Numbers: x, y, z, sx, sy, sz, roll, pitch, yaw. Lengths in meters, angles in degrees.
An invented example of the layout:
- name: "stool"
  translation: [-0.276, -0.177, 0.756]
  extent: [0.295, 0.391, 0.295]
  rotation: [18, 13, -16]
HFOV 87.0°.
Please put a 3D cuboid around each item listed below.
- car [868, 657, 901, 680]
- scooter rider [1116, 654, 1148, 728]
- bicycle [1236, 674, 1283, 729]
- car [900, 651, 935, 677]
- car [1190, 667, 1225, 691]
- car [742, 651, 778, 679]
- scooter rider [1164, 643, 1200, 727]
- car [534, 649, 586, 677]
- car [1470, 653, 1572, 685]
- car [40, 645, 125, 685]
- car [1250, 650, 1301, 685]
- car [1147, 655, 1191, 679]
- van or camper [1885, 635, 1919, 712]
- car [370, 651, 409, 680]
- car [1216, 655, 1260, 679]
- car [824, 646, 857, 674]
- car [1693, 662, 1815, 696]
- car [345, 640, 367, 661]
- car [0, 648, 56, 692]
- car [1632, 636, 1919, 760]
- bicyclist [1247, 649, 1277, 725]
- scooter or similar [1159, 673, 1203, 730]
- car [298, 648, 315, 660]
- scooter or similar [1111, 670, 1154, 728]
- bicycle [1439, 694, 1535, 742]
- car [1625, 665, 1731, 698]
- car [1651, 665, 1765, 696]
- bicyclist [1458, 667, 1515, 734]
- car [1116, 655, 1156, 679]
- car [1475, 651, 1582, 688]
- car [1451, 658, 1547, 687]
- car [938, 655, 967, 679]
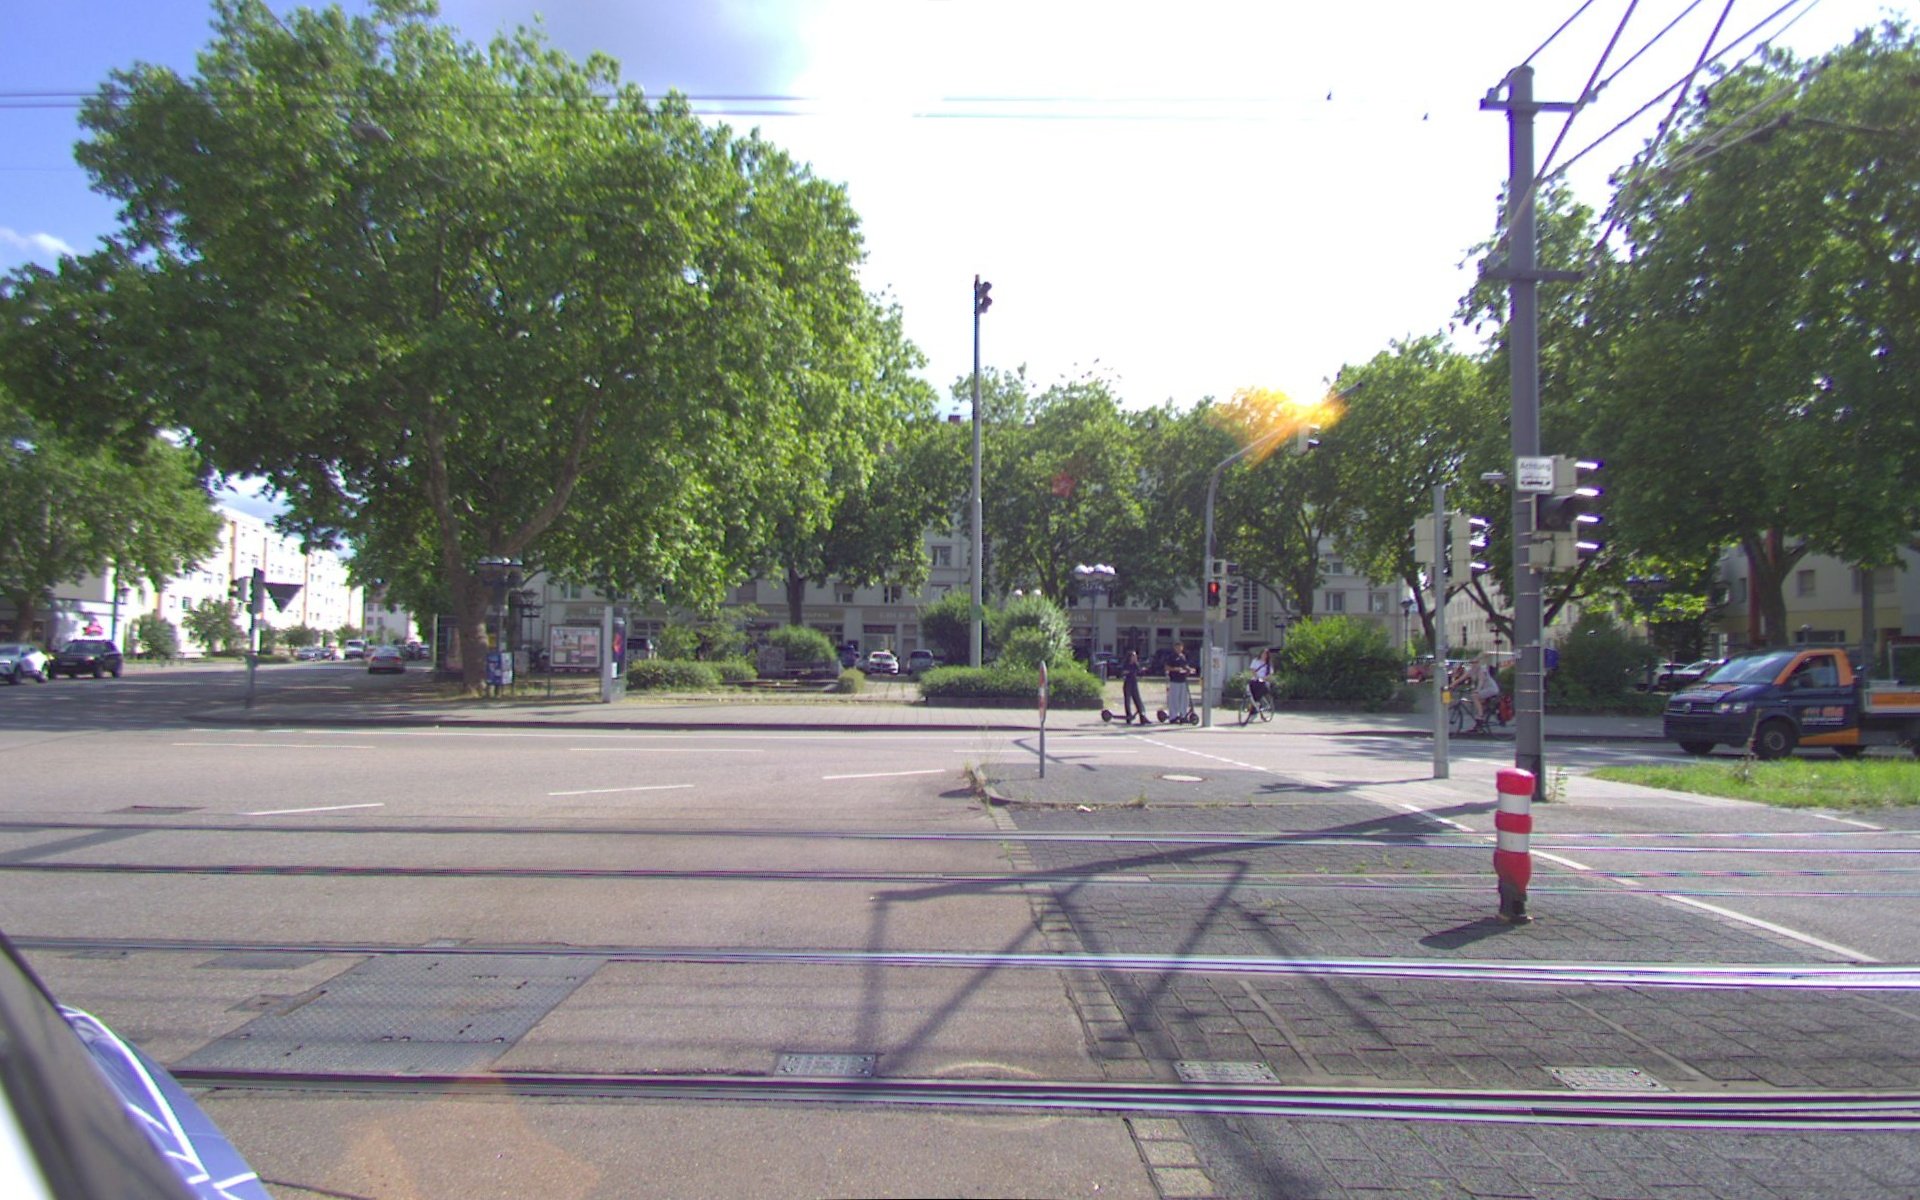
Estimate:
- name: "car"
  translation: [-4.736, 4.260, 63.092]
  extent: [1.839, 1.364, 3.950]
  rotation: [1, -3, -8]
- name: "scooter rider"
  translation: [3.827, 2.024, 22.557]
  extent: [0.535, 1.605, 0.439]
  rotation: [2, -2, -24]
- name: "bicycle"
  translation: [6.814, 2.281, 22.959]
  extent: [0.506, 1.121, 1.611]
  rotation: [0, -1, 36]
- name: "car"
  translation: [-2.710, 4.027, 63.854]
  extent: [1.839, 1.530, 3.950]
  rotation: [1, -3, -8]
- name: "car"
  translation: [18.194, 5.808, 74.477]
  extent: [1.909, 1.680, 3.730]
  rotation: [0, -6, 5]
- name: "car"
  translation: [-12.424, 4.014, 62.994]
  extent: [1.823, 1.672, 4.088]
  rotation: [1, -3, -6]
- name: "scooter rider"
  translation: [4.959, 1.882, 22.576]
  extent: [0.675, 1.824, 0.541]
  rotation: [0, -2, 23]
- name: "car"
  translation: [-24.820, 3.892, 62.876]
  extent: [1.824, 1.672, 4.087]
  rotation: [1, -3, -4]
- name: "car"
  translation: [34.516, 4.273, 62.333]
  extent: [5.173, 1.886, 2.002]
  rotation: [1, -6, -5]
- name: "car"
  translation: [-37.791, 2.788, 43.709]
  extent: [1.661, 1.632, 4.013]
  rotation: [2, -3, -25]
- name: "car"
  translation: [19.780, 4.282, 63.682]
  extent: [2.227, 2.029, 3.927]
  rotation: [0, -6, 5]
- name: "car"
  translation: [15.361, 4.934, 74.501]
  extent: [2.051, 1.672, 4.088]
  rotation: [1, -3, -5]
- name: "van or camper"
  translation: [35.921, 2.581, 35.239]
  extent: [5.273, 2.662, 2.109]
  rotation: [1, -6, -1]
- name: "car"
  translation: [-32.851, 3.744, 58.321]
  extent: [1.661, 1.513, 4.013]
  rotation: [2, -3, -26]
- name: "car"
  translation: [20.553, 4.969, 75.000]
  extent: [1.823, 1.672, 4.088]
  rotation: [1, -3, -5]
- name: "car"
  translation: [-7.528, 3.748, 63.420]
  extent: [1.968, 1.697, 4.006]
  rotation: [1, -3, -7]
- name: "car"
  translation: [34.708, 3.470, 44.303]
  extent: [3.940, 1.374, 1.769]
  rotation: [1, -6, -3]
- name: "car"
  translation: [-51.486, 4.277, 86.267]
  extent: [1.556, 1.732, 4.012]
  rotation: [2, -3, -31]
- name: "car"
  translation: [-34.542, 2.481, 36.356]
  extent: [1.829, 1.501, 4.089]
  rotation: [2, -3, -24]
- name: "car"
  translation: [15.225, 1.667, 17.870]
  extent: [5.257, 2.002, 2.082]
  rotation: [-1, -3, -2]
- name: "bicyclist"
  translation: [6.891, 1.971, 23.073]
  extent: [0.506, 1.681, 0.576]
  rotation: [0, -1, 37]
- name: "scooter or similar"
  translation: [4.936, 2.250, 22.577]
  extent: [0.871, 1.180, 0.540]
  rotation: [0, -2, 23]
- name: "car"
  translation: [-89.528, 7.366, 138.634]
  extent: [1.556, 1.532, 4.013]
  rotation: [2, -3, -27]
- name: "scooter or similar"
  translation: [3.835, 2.188, 22.529]
  extent: [0.535, 1.235, 0.879]
  rotation: [2, -2, -24]
- name: "bicycle"
  translation: [10.901, 2.446, 20.973]
  extent: [1.696, 0.928, 0.470]
  rotation: [0, -3, 6]
- name: "car"
  translation: [35.025, 4.010, 49.447]
  extent: [3.940, 1.532, 1.665]
  rotation: [1, -6, -3]
- name: "car"
  translation: [34.526, 3.723, 46.781]
  extent: [3.940, 1.374, 1.769]
  rotation: [1, -6, -3]
- name: "bicyclist"
  translation: [10.911, 2.079, 20.991]
  extent: [0.898, 1.354, 0.470]
  rotation: [0, -3, 6]
- name: "car"
  translation: [12.890, 4.886, 74.276]
  extent: [1.823, 1.672, 4.088]
  rotation: [1, -3, -5]
- name: "car"
  translation: [33.587, 4.146, 59.901]
  extent: [5.173, 2.103, 2.002]
  rotation: [1, -6, -4]
- name: "car"
  translation: [34.771, 4.727, 65.385]
  extent: [5.173, 1.764, 1.905]
  rotation: [1, -6, -5]
- name: "car"
  translation: [-0.592, 4.910, 74.411]
  extent: [1.824, 1.672, 4.087]
  rotation: [1, -3, -4]
